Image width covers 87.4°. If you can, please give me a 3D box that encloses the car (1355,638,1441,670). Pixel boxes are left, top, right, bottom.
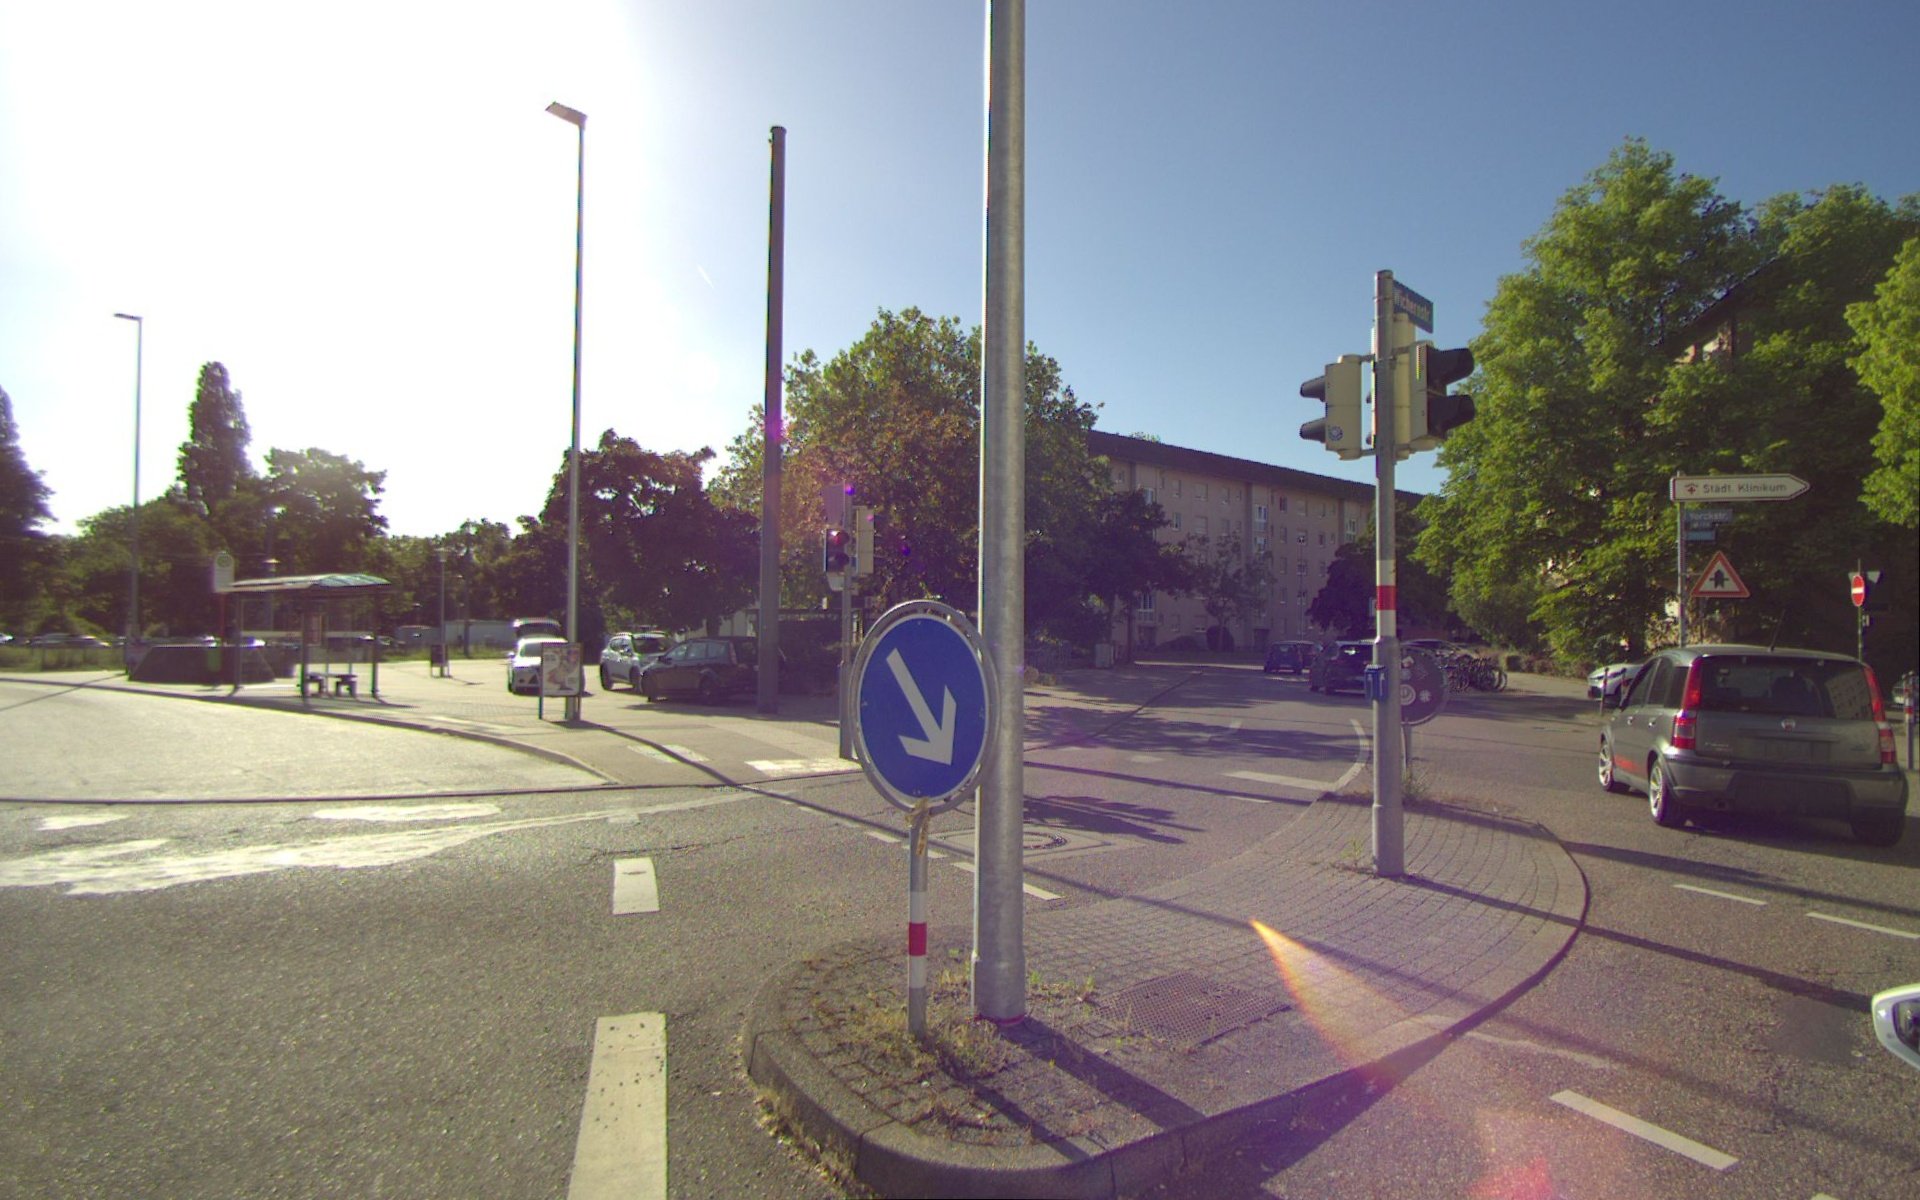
[{"bbox_3d":[21.331,2.622,48.985,3.527,1.500,1.619,1,-2,-8],"label":"car"}]

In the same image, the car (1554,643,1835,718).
[{"bbox_3d":[16.808,1.800,23.345,4.940,1.538,1.923,0,-2,23],"label":"car"}]

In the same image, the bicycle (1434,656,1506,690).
[{"bbox_3d":[16.273,2.325,32.099,1.993,1.044,0.469,0,-2,8],"label":"bicycle"}]

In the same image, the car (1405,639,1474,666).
[{"bbox_3d":[27.555,2.998,57.829,3.524,1.500,1.621,-1,-2,23],"label":"car"}]

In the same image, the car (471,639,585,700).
[{"bbox_3d":[-11.809,1.835,27.376,1.673,1.528,3.549,2,-3,-45],"label":"car"}]

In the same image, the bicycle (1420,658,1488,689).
[{"bbox_3d":[16.600,2.459,33.761,1.993,1.044,0.449,0,-2,8],"label":"bicycle"}]

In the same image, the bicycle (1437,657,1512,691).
[{"bbox_3d":[16.144,2.323,31.549,1.993,1.044,0.571,0,-2,8],"label":"bicycle"}]

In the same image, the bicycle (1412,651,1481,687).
[{"bbox_3d":[16.668,2.356,34.452,1.993,1.192,0.669,0,-2,8],"label":"bicycle"}]

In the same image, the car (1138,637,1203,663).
[{"bbox_3d":[15.421,3.665,73.716,2.049,1.821,4.380,2,-3,-37],"label":"car"}]

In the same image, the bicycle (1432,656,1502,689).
[{"bbox_3d":[16.427,2.347,32.576,1.993,1.044,0.449,0,-2,8],"label":"bicycle"}]

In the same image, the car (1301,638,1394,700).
[{"bbox_3d":[10.375,1.809,27.159,1.650,1.528,3.761,0,-2,10],"label":"car"}]

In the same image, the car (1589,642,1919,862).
[{"bbox_3d":[6.909,1.169,9.042,1.590,1.582,3.256,-1,-2,23],"label":"car"}]

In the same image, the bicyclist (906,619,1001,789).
[{"bbox_3d":[-0.052,0.990,9.800,0.811,1.584,0.596,0,-2,11],"label":"bicyclist"}]

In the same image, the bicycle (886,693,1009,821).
[{"bbox_3d":[-0.066,1.454,9.720,0.812,0.999,1.948,0,-2,11],"label":"bicycle"}]

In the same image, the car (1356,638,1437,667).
[{"bbox_3d":[22.496,2.698,51.804,3.527,1.500,1.619,1,-2,-8],"label":"car"}]

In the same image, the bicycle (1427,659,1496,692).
[{"bbox_3d":[16.550,2.487,33.164,1.993,1.044,0.449,0,-2,8],"label":"bicycle"}]

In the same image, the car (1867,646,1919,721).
[{"bbox_3d":[22.363,1.781,21.284,4.214,1.538,1.910,0,-2,17],"label":"car"}]

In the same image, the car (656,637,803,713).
[{"bbox_3d":[-5.321,1.652,22.968,1.673,1.528,3.549,-1,-1,-45],"label":"car"}]

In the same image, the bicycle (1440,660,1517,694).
[{"bbox_3d":[15.918,2.358,30.866,1.993,1.044,0.571,0,-2,8],"label":"bicycle"}]

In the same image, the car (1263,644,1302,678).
[{"bbox_3d":[15.182,2.835,47.276,1.650,1.528,3.597,0,-2,18],"label":"car"}]

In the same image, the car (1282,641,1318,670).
[{"bbox_3d":[18.857,3.036,55.716,1.651,1.528,3.595,0,-2,23],"label":"car"}]

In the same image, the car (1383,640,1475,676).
[{"bbox_3d":[19.939,2.452,42.773,3.197,1.500,1.620,1,-2,-8],"label":"car"}]

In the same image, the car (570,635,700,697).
[{"bbox_3d":[-9.195,1.809,28.272,3.944,1.600,1.790,-2,-3,43],"label":"car"}]
